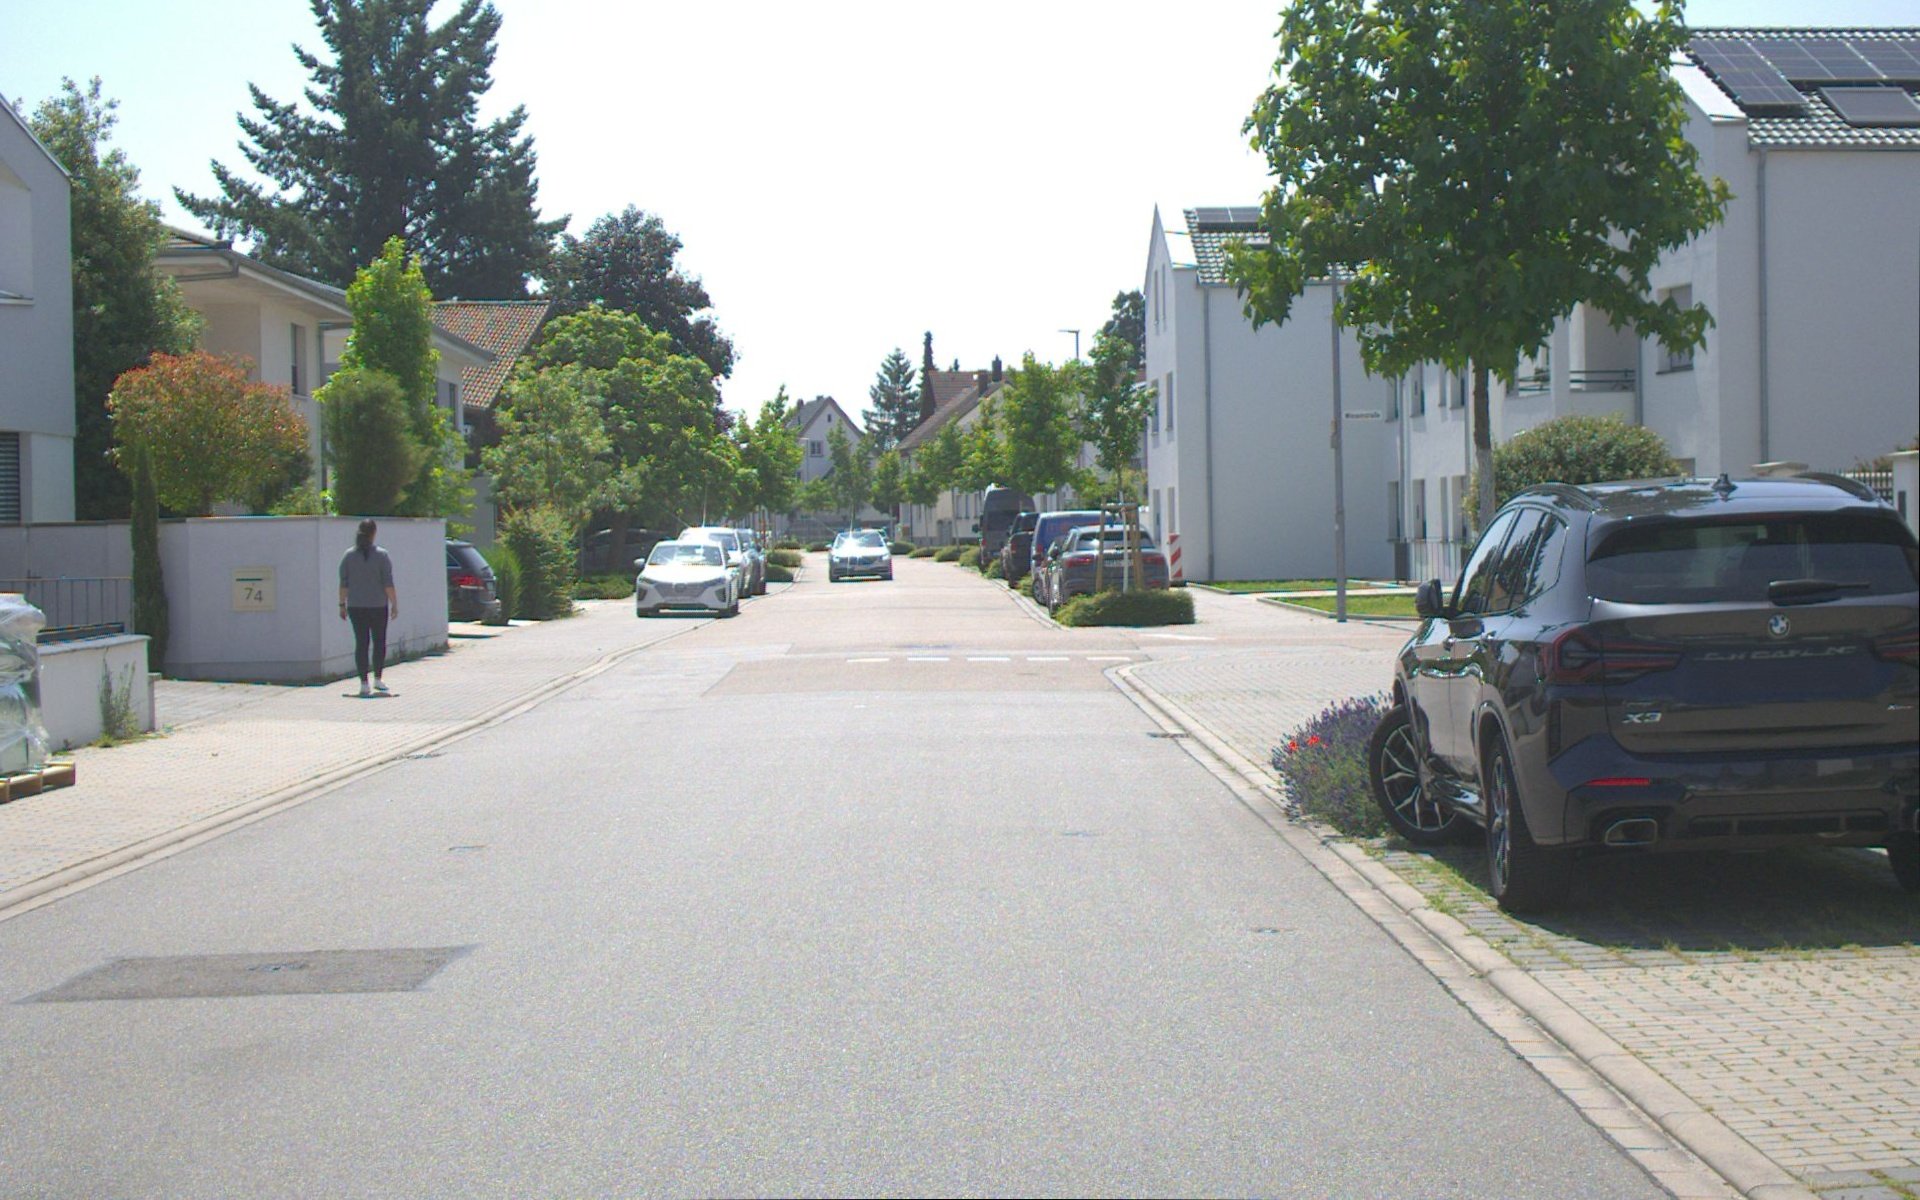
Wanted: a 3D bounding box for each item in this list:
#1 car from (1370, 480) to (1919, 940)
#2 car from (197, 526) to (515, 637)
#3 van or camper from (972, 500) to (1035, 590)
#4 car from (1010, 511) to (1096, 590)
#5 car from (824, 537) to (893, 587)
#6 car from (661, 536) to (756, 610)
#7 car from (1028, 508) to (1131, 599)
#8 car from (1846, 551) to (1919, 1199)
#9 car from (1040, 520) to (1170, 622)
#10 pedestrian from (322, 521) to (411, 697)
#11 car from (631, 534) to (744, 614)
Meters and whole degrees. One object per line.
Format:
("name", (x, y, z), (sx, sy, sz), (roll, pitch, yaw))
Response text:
("car", (2.942, 0.331, 14.786), (1.814, 1.650, 4.565), (-1, 2, 0))
("car", (-9.200, -0.296, 52.572), (4.429, 1.468, 1.850), (3, 1, 4))
("van or camper", (1.420, -1.835, 114.135), (1.993, 2.931, 4.000), (0, 1, -1))
("car", (2.379, -1.296, 89.271), (1.993, 1.940, 5.215), (-2, 1, 0))
("car", (-3.093, -1.198, 105.628), (1.853, 1.473, 4.700), (-1, 1, 1))
("car", (-5.945, -0.664, 81.807), (1.927, 1.681, 4.498), (-1, 1, 0))
("car", (2.571, -1.030, 75.083), (2.099, 1.875, 4.843), (-1, 1, 1))
("car", (2.896, 0.631, 5.683), (1.814, 1.415, 4.093), (-1, 1, 0))
("car", (2.417, -0.520, 58.232), (1.773, 1.590, 4.280), (-2, 1, -3))
("pedestrian", (-6.000, 0.082, 34.803), (0.714, 1.741, 0.961), (-1, 1, 0))
("car", (-5.260, -0.537, 66.838), (1.852, 1.483, 4.385), (-1, 1, 0))
